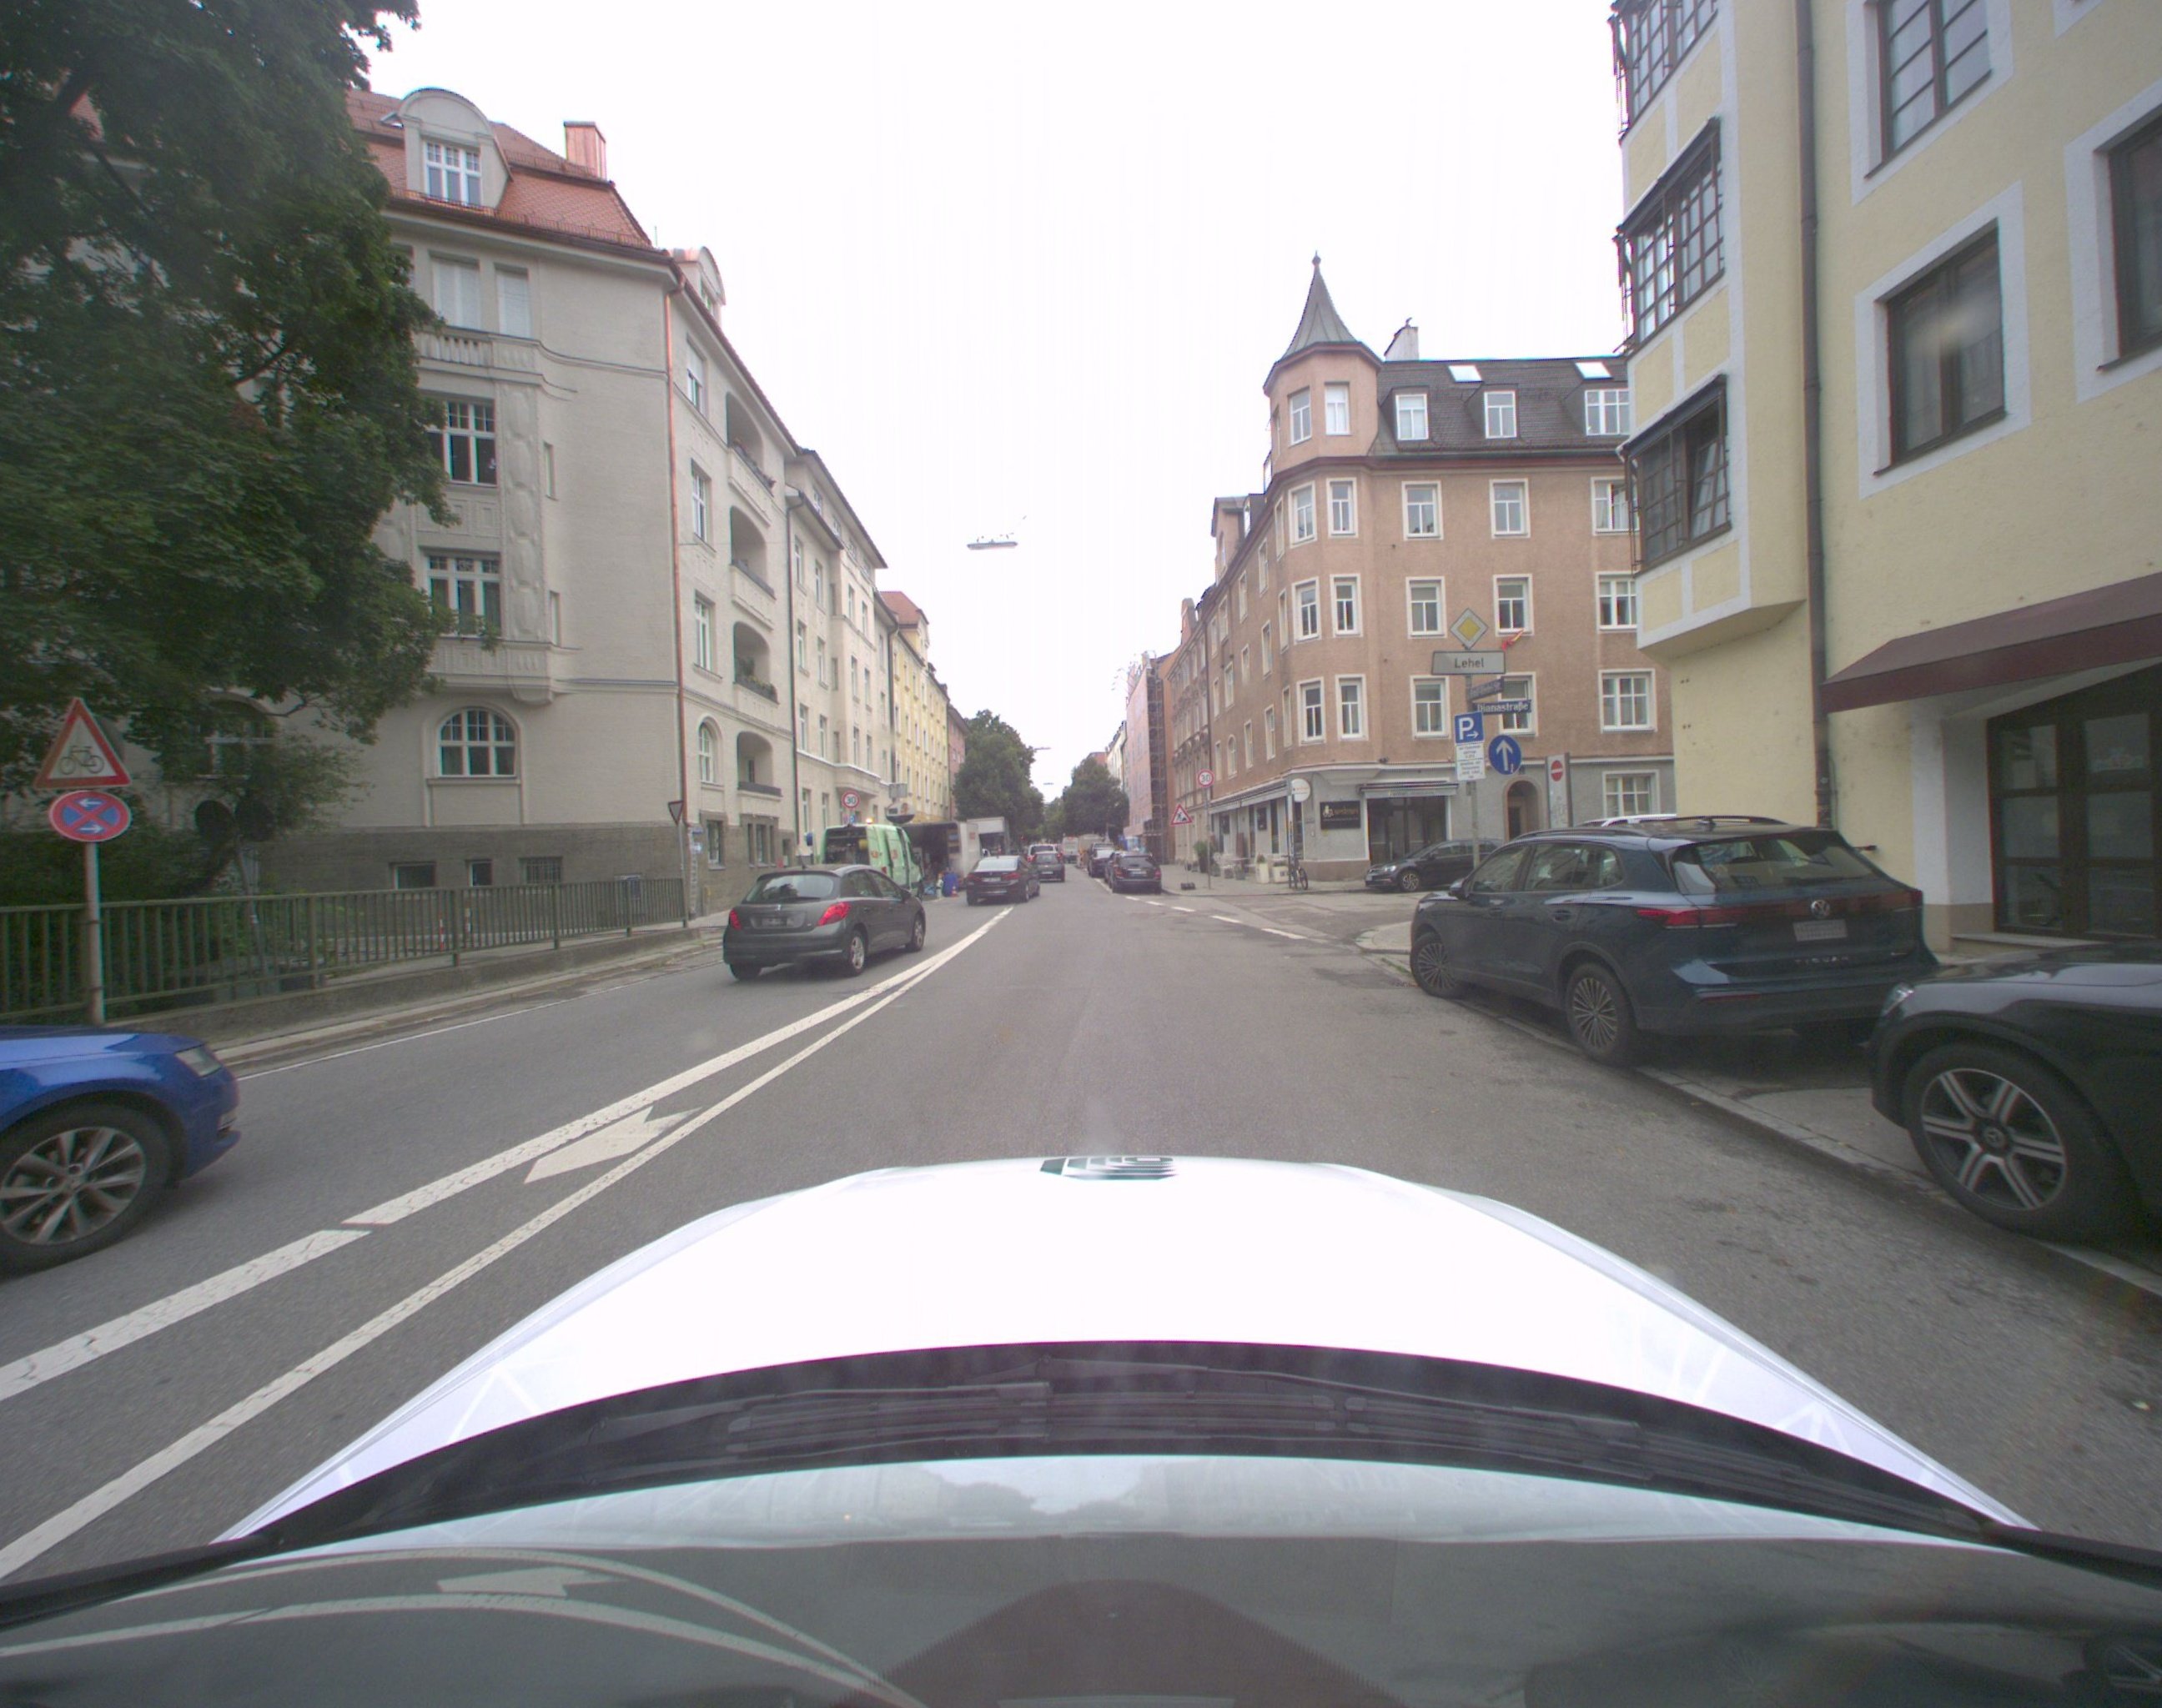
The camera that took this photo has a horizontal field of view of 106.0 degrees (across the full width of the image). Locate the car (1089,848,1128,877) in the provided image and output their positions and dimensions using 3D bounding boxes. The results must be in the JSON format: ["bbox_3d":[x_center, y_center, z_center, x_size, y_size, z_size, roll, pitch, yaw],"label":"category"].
[{"bbox_3d":[1.446,0.443,44.749,1.839,1.429,4.303,1,1,-2],"label":"car"}]

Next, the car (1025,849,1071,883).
[{"bbox_3d":[-1.522,0.535,39.016,1.984,1.429,4.140,-2,1,0],"label":"car"}]

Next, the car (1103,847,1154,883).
[{"bbox_3d":[2.011,0.434,35.875,1.839,1.429,4.137,1,1,-2],"label":"car"}]

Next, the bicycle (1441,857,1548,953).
[{"bbox_3d":[5.738,0.658,11.431,0.512,1.208,1.996,-1,0,2],"label":"bicycle"}]

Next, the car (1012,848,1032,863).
[{"bbox_3d":[-6.162,0.141,85.339,1.934,1.448,3.863,-2,0,-2],"label":"car"}]

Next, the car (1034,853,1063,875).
[{"bbox_3d":[-2.434,0.713,61.536,1.984,1.429,4.140,-2,1,0],"label":"car"}]

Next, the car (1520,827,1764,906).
[{"bbox_3d":[11.918,0.232,17.492,4.023,1.456,1.747,-2,2,1],"label":"car"}]

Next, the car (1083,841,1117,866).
[{"bbox_3d":[1.190,-0.074,52.631,1.984,1.429,4.140,-2,1,0],"label":"car"}]

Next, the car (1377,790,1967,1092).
[{"bbox_3d":[4.309,0.504,7.065,1.812,1.679,4.511,-3,0,1],"label":"car"}]

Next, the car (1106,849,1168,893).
[{"bbox_3d":[1.986,0.580,29.945,1.839,1.429,4.180,1,1,-2],"label":"car"}]

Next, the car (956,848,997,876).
[{"bbox_3d":[-6.480,0.455,50.859,1.984,1.610,4.139,-2,0,0],"label":"car"}]

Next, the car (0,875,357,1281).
[{"bbox_3d":[-5.176,0.895,2.050,1.975,1.454,4.748,-2,0,10],"label":"car"}]

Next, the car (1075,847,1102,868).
[{"bbox_3d":[0.554,0.274,62.186,1.984,1.429,4.140,-2,1,0],"label":"car"}]

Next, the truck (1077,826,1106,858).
[{"bbox_3d":[0.986,-1.119,78.548,2.485,2.973,5.324,-2,0,-2],"label":"truck"}]

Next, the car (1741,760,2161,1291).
[{"bbox_3d":[4.216,0.499,1.832,1.749,1.679,4.710,-3,0,3],"label":"car"}]

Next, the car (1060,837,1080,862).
[{"bbox_3d":[-1.097,-0.490,85.538,1.933,2.480,4.783,-2,0,1],"label":"car"}]

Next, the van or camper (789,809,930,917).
[{"bbox_3d":[-6.588,0.188,25.207,2.592,2.840,6.185,-2,1,0],"label":"van or camper"}]

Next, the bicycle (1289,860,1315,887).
[{"bbox_3d":[6.904,0.593,25.498,0.455,0.805,1.327,-1,0,1],"label":"bicycle"}]

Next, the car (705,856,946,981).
[{"bbox_3d":[-3.514,0.808,12.099,1.749,1.461,4.084,-2,0,8],"label":"car"}]

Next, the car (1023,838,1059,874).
[{"bbox_3d":[-2.440,0.059,50.953,1.984,2.075,4.140,-2,1,0],"label":"car"}]

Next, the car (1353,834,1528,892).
[{"bbox_3d":[10.230,0.274,23.416,4.157,1.429,1.924,-2,-2,-1],"label":"car"}]

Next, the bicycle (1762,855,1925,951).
[{"bbox_3d":[8.617,0.507,9.296,0.270,0.977,1.684,-1,0,0],"label":"bicycle"}]

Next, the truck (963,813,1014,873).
[{"bbox_3d":[-6.549,-0.769,58.610,3.005,3.951,6.989,-2,0,-2],"label":"truck"}]

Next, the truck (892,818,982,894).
[{"bbox_3d":[-6.053,0.012,35.487,2.766,2.872,7.196,-2,1,-2],"label":"truck"}]

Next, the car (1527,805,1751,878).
[{"bbox_3d":[16.270,-0.324,23.946,5.112,1.854,2.099,-2,-2,-1],"label":"car"}]

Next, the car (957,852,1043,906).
[{"bbox_3d":[-2.459,0.722,26.104,1.982,1.429,4.910,-2,1,3],"label":"car"}]
